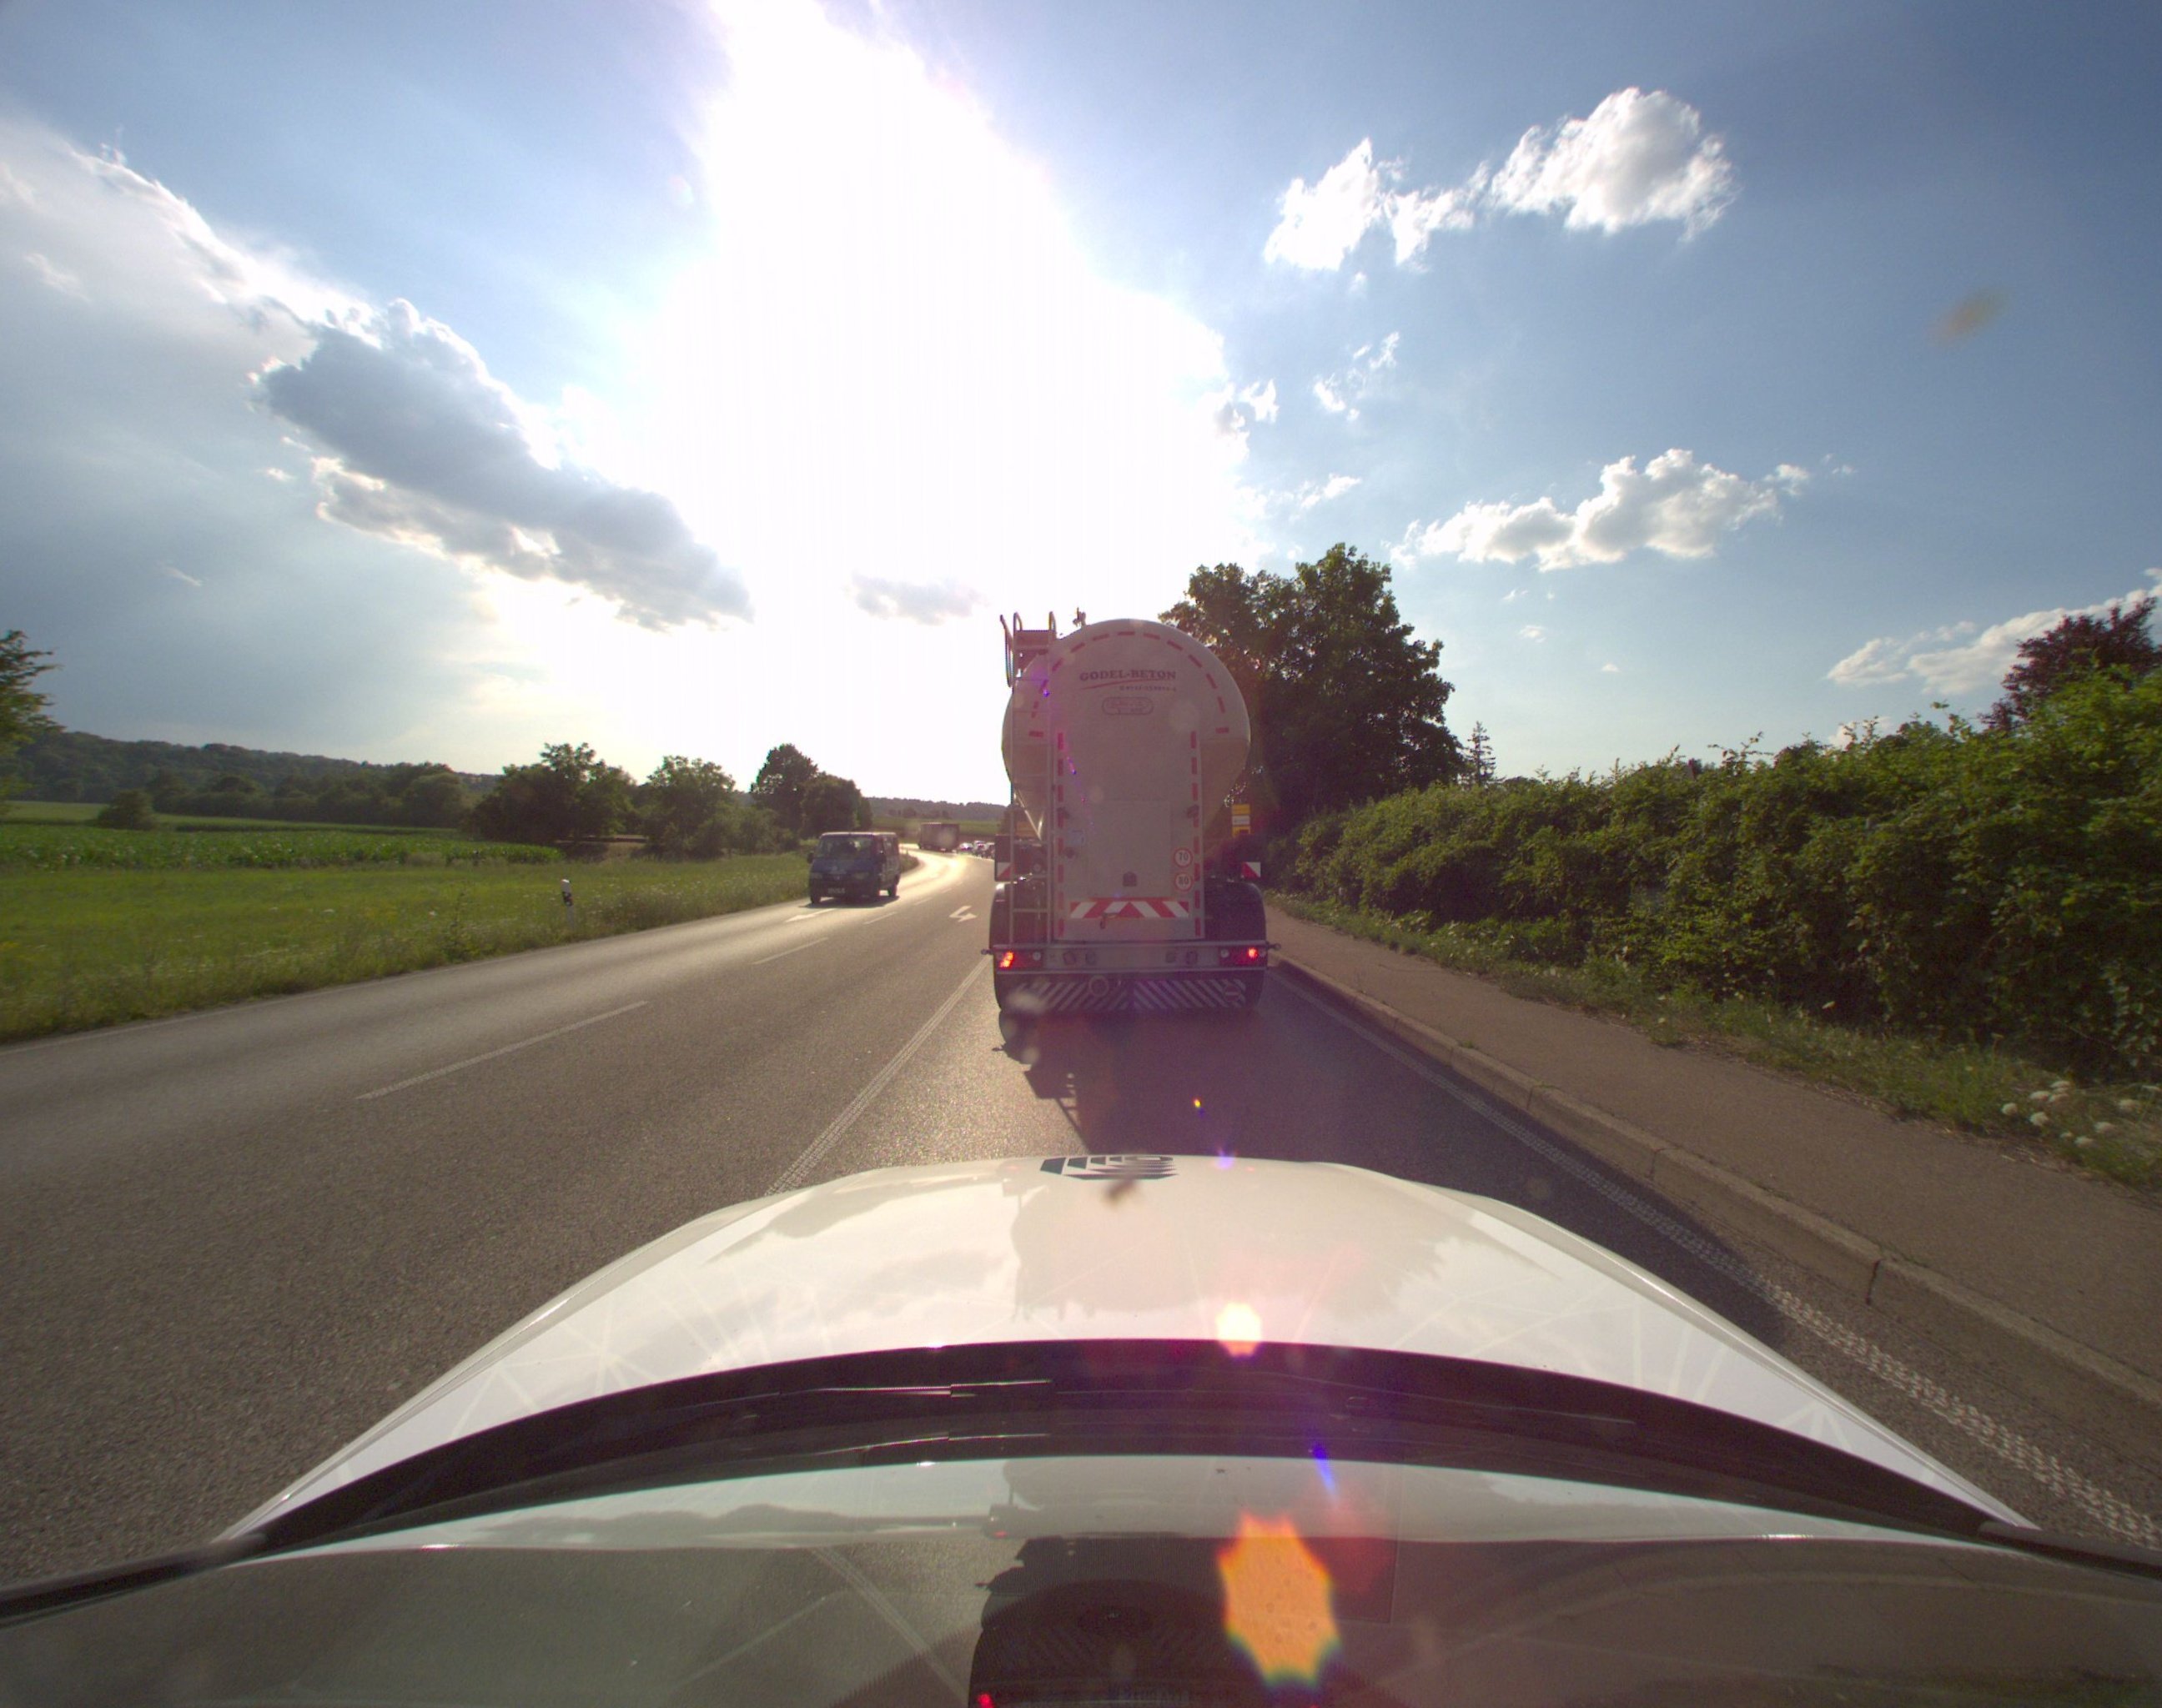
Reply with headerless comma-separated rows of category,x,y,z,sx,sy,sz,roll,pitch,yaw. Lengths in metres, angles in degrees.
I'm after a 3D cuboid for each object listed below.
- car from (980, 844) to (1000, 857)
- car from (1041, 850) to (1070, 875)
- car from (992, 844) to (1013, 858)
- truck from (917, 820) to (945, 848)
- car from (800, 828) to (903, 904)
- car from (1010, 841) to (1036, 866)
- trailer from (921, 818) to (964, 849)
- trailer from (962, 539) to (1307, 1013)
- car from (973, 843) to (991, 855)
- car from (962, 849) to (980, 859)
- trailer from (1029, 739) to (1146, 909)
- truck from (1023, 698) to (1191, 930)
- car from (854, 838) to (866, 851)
car,-9.967,-0.395,89.270,1.583,1.340,3.407,1,0,-16
car,-1.442,0.461,46.104,1.576,1.340,3.423,1,0,-2
car,-8.057,-0.292,83.103,1.583,1.340,3.407,1,0,-16
truck,-23.782,-3.131,129.042,3.389,4.350,5.665,1,0,-22
car,-6.975,0.318,25.318,1.993,2.136,4.775,0,0,-2
car,-4.947,-0.030,68.863,1.861,2.013,3.707,-1,0,-9
trailer,-20.777,-2.982,121.408,3.388,4.350,14.191,1,0,-21
trailer,0.437,-0.690,11.889,2.900,4.006,9.927,-1,0,0
car,-11.871,-0.590,97.198,1.583,1.340,3.407,1,0,-16
car,-14.060,-0.011,103.845,1.773,1.205,3.407,1,0,-16
trailer,0.386,-0.807,27.879,2.944,4.315,14.181,1,0,2
truck,0.432,-0.708,16.215,2.901,4.006,4.058,-1,0,-1
car,-44.618,-1.930,164.087,1.663,2.713,3.445,2,0,-26
